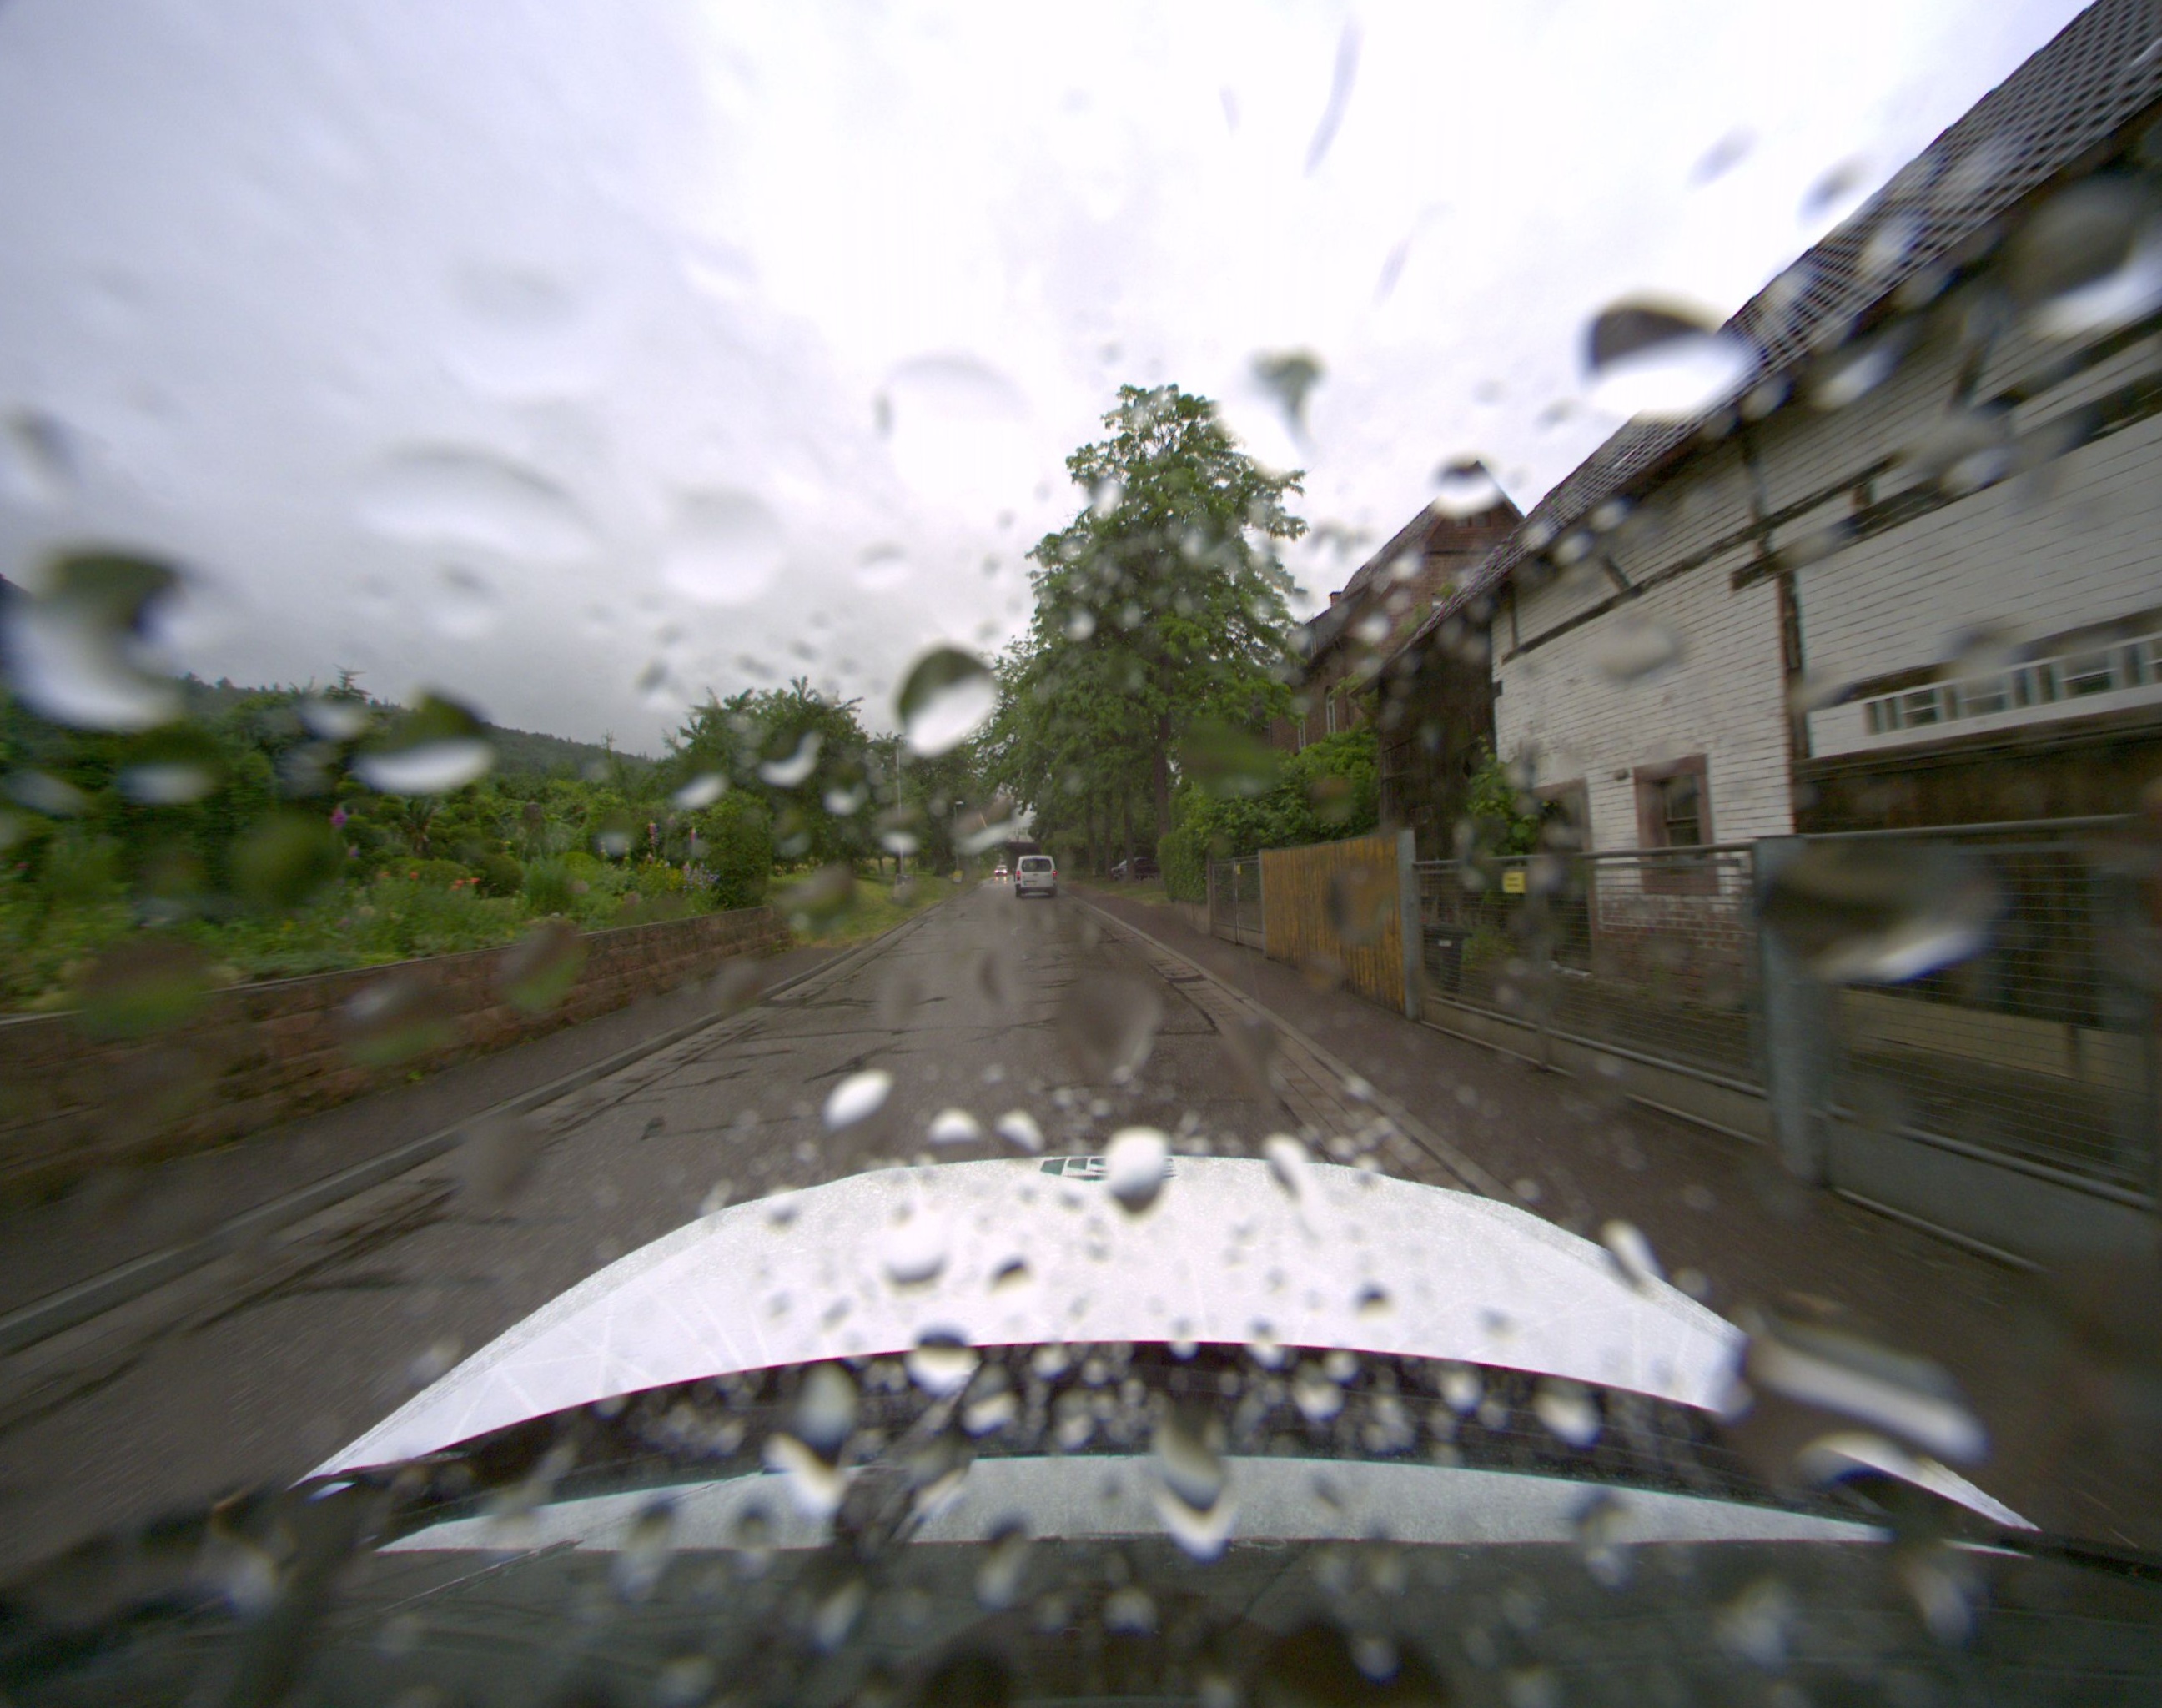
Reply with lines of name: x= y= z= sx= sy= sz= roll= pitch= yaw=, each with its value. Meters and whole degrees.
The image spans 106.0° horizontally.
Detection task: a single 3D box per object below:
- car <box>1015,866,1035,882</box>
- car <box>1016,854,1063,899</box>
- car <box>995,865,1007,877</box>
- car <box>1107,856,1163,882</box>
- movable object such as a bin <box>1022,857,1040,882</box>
car: x=-5.209 y=1.858 z=76.121 sx=1.704 sy=1.377 sz=3.997 roll=-1 pitch=-1 yaw=-2
car: x=-1.854 y=0.967 z=36.223 sx=1.893 sy=1.807 sz=3.994 roll=-3 pitch=0 yaw=-4
car: x=-13.043 y=2.719 z=132.246 sx=1.821 sy=1.832 sz=4.298 roll=-1 pitch=-1 yaw=-6
car: x=3.656 y=1.003 z=55.118 sx=3.632 sy=1.551 sz=1.602 roll=-1 pitch=-2 yaw=-41
movable object such as a bin: x=-5.375 y=1.670 z=87.820 sx=1.757 sy=2.548 sz=4.235 roll=-1 pitch=-1 yaw=-2
